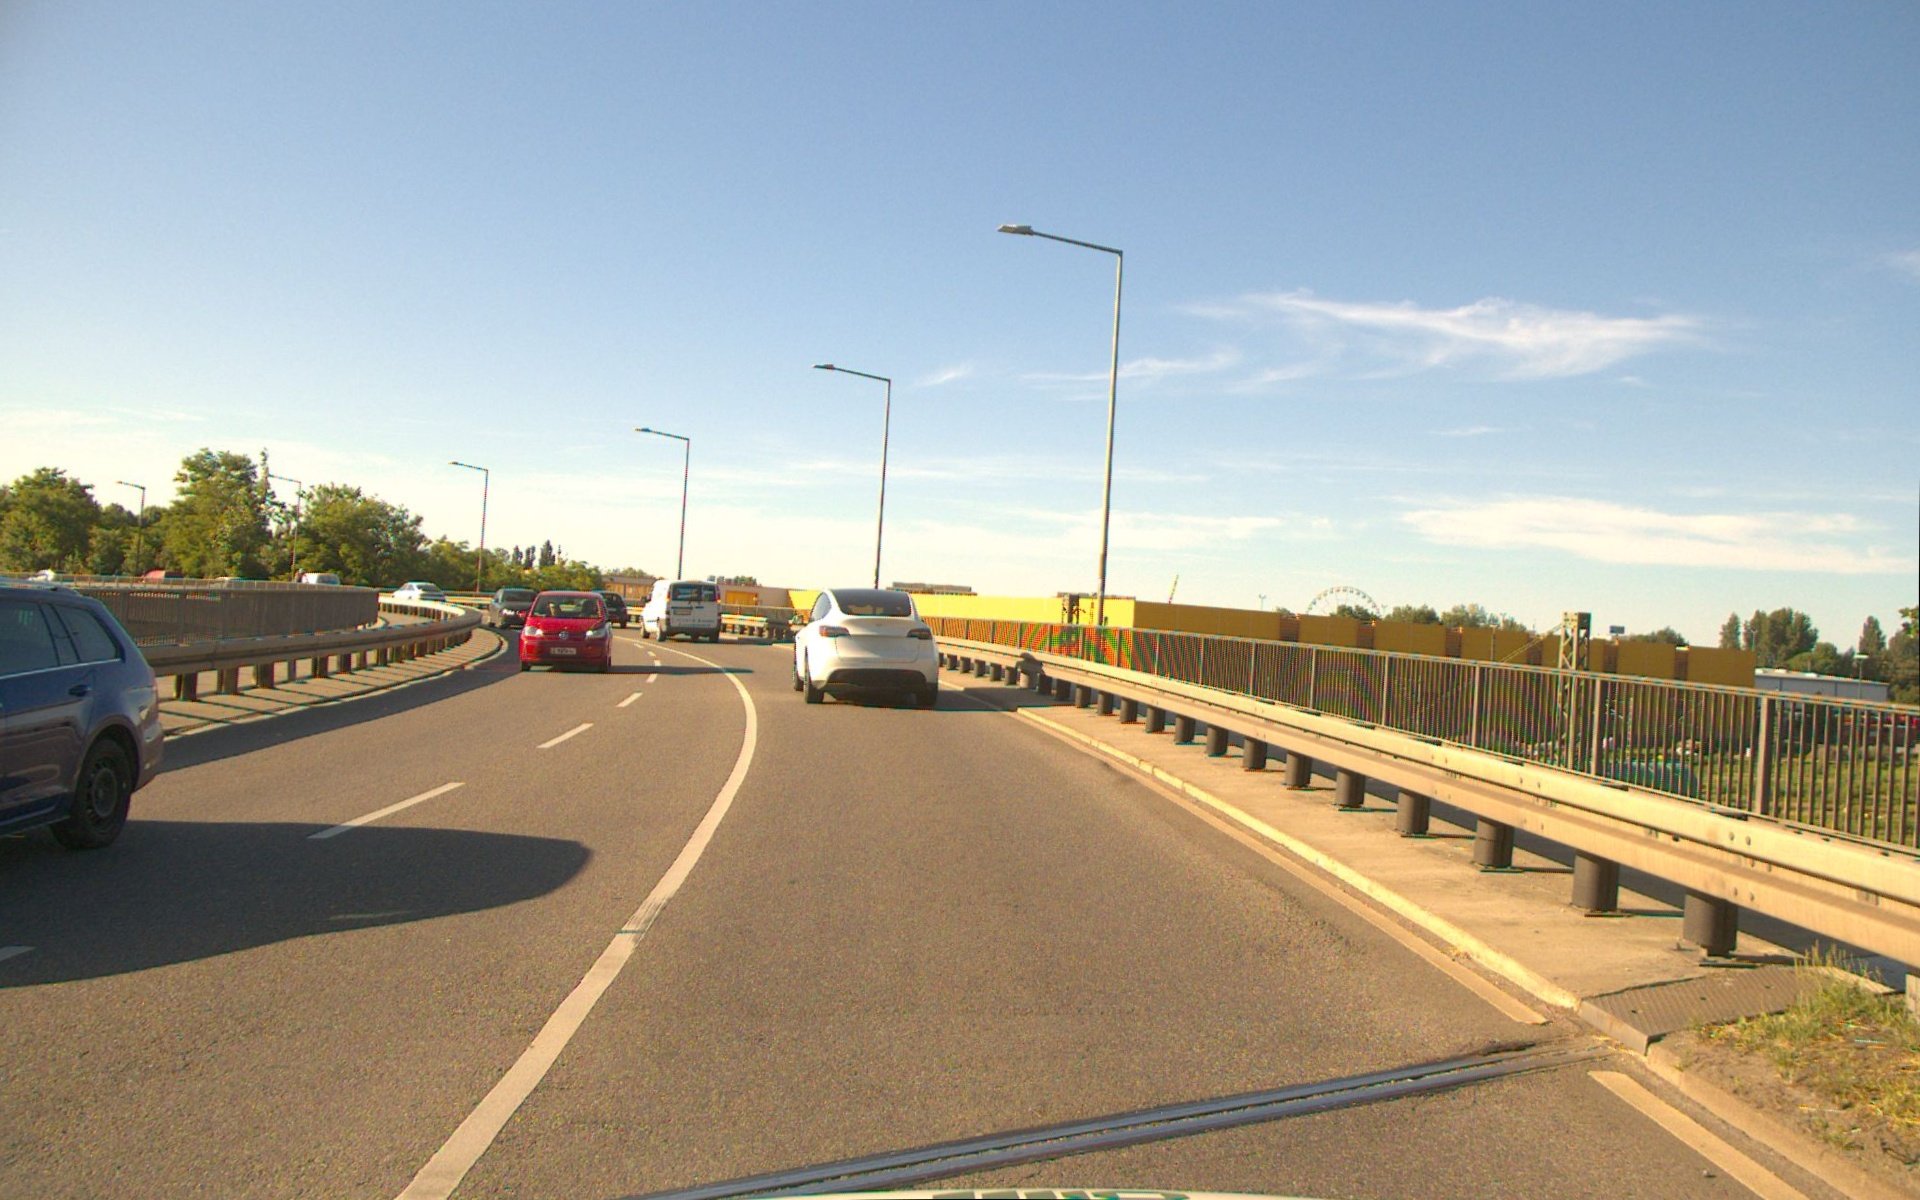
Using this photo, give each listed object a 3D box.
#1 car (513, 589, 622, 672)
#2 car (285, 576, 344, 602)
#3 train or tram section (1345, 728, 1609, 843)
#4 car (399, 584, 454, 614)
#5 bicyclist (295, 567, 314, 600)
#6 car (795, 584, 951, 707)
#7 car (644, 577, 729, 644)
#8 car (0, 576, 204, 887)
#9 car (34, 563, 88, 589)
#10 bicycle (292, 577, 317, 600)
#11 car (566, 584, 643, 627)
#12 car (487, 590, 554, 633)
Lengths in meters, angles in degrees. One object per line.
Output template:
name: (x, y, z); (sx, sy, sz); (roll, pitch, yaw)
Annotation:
car: (-7.454, 0.541, 31.724); (1.749, 1.462, 3.866); (1, 0, -10)
car: (-41.673, -0.706, 106.709); (3.818, 1.583, 1.833); (2, 0, 37)
train or tram section: (28.411, 9.933, 90.216); (16.646, 5.353, 3.304); (2, 0, -30)
car: (-30.224, -0.081, 93.639); (1.844, 1.612, 3.866); (2, 0, -35)
bicyclist: (-33.008, -0.840, 83.278); (0.649, 1.617, 0.757); (2, 0, -39)
car: (-1.387, 0.617, 24.618); (1.948, 1.666, 4.055); (1, 0, -8)
car: (-8.666, 0.292, 52.169); (1.974, 1.974, 4.445); (2, 0, -18)
car: (-5.497, 0.623, 8.035); (1.689, 1.512, 4.405); (1, 0, -2)
car: (-71.547, -1.928, 131.579); (3.912, 1.984, 1.959); (2, 0, 29)
bicycle: (-33.029, -0.587, 83.294); (0.649, 1.083, 1.864); (2, 0, -39)
car: (-14.365, 0.211, 66.684); (1.948, 1.666, 3.960); (0, 0, -30)
car: (-16.225, 0.390, 60.927); (1.848, 1.464, 4.292); (2, 0, -22)
